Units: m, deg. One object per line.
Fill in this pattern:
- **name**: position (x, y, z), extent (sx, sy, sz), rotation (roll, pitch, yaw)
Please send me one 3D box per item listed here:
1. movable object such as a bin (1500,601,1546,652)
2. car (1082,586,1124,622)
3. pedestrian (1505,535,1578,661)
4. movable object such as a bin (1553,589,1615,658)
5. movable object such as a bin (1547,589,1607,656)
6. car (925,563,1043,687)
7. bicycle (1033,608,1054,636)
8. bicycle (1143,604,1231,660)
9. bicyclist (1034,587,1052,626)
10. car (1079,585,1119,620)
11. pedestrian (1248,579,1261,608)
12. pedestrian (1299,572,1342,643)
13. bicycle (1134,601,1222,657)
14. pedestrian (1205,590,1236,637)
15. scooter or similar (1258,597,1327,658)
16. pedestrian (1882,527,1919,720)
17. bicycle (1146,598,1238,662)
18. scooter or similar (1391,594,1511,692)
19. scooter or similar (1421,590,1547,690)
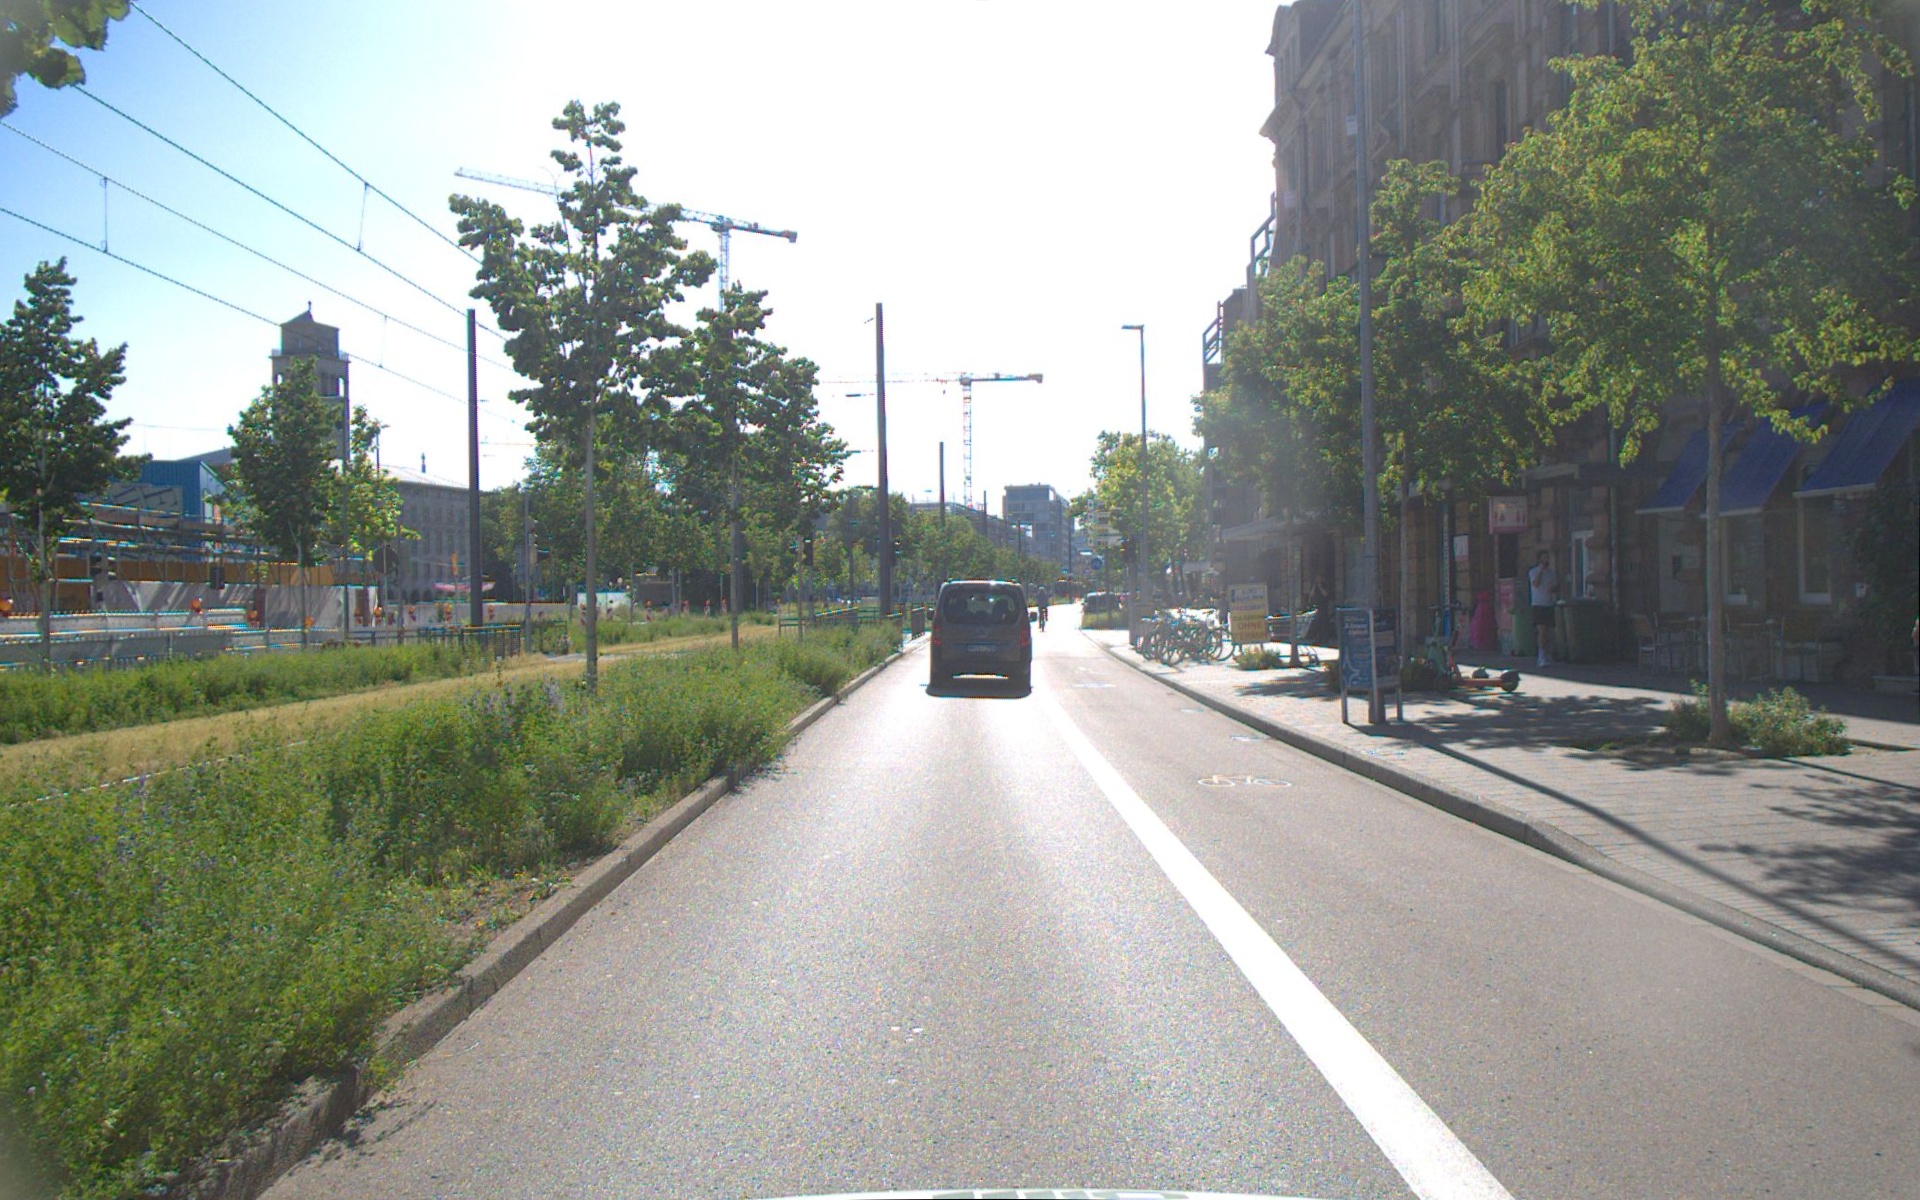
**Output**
- **movable object such as a bin**: position (10.501, 0.490, 30.882), extent (0.592, 0.932, 0.650), rotation (-1, 0, -5)
- **car**: position (6.713, 0.217, 77.918), extent (1.946, 1.666, 4.191), rotation (0, -1, 4)
- **pedestrian**: position (9.657, -0.012, 27.496), extent (0.801, 2.049, 1.046), rotation (0, -3, -1)
- **movable object such as a bin**: position (10.403, 0.387, 27.583), extent (0.711, 1.117, 0.747), rotation (-1, 0, -5)
- **movable object such as a bin**: position (10.575, 0.375, 28.354), extent (0.711, 1.117, 0.747), rotation (-1, 0, -5)
- **car**: position (0.353, 0.427, 29.461), extent (1.953, 2.049, 3.999), rotation (0, -1, -2)
- **bicycle**: position (3.481, 0.916, 69.241), extent (0.687, 1.110, 2.277), rotation (-1, 0, -1)
- **bicycle**: position (5.110, 0.716, 37.244), extent (1.790, 1.097, 0.664), rotation (-4, 0, -7)
- **bicyclist**: position (3.479, 0.264, 69.233), extent (0.669, 1.612, 0.839), rotation (-1, 0, -1)
- **car**: position (7.062, 0.158, 84.241), extent (1.979, 1.752, 4.120), rotation (0, -1, 4)
- **pedestrian**: position (17.049, -0.372, 95.695), extent (0.685, 1.681, 0.724), rotation (-1, 0, 7)
- **pedestrian**: position (9.231, 0.185, 42.372), extent (0.827, 1.772, 0.886), rotation (-2, -1, 0)
- **bicycle**: position (5.102, 0.673, 38.760), extent (1.879, 1.140, 0.664), rotation (-4, 0, -7)
- **pedestrian**: position (7.882, 0.415, 50.032), extent (0.688, 1.359, 1.011), rotation (-5, -1, 0)
- **scooter or similar**: position (6.604, 0.543, 32.887), extent (1.194, 1.125, 0.783), rotation (-2, 1, 2)
- **pedestrian**: position (9.211, 0.183, 15.100), extent (0.976, 1.761, 0.866), rotation (-4, -1, -2)
- **bicycle**: position (5.003, 0.638, 35.707), extent (1.843, 1.255, 0.499), rotation (-4, 0, -7)
- **scooter or similar**: position (6.795, 0.581, 22.910), extent (1.447, 1.237, 0.600), rotation (-3, 1, -12)
- **scooter or similar**: position (7.013, 0.525, 22.152), extent (1.445, 1.237, 0.601), rotation (-3, 1, -5)
